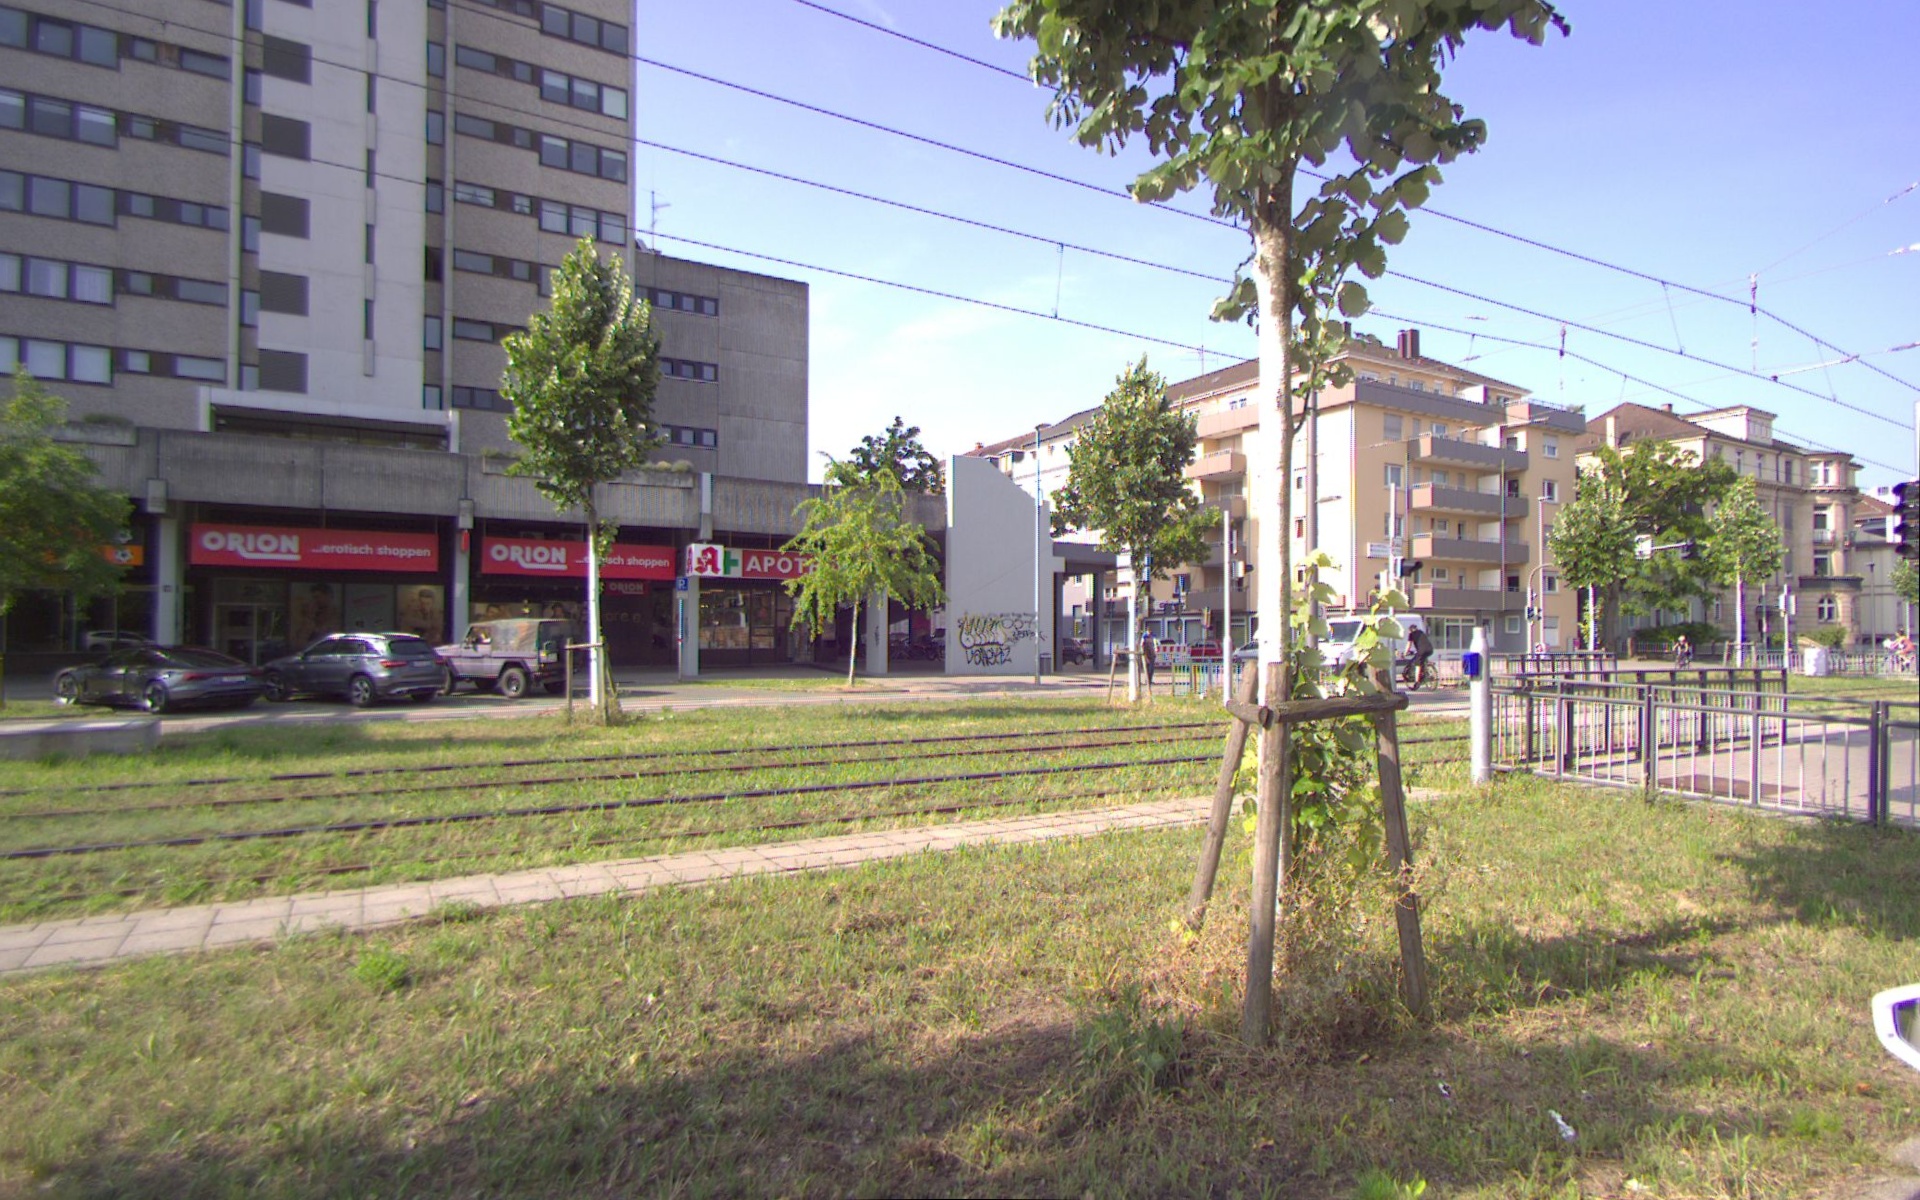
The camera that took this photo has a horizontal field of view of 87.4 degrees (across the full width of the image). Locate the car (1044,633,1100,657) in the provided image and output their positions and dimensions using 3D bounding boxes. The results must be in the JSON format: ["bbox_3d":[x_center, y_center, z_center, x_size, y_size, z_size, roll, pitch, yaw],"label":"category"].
[{"bbox_3d":[7.841,3.167,70.505,1.797,1.625,3.916,1,-2,-34],"label":"car"}]

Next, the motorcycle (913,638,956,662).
[{"bbox_3d":[-1.328,2.616,52.890,2.116,1.269,0.820,1,-2,-30],"label":"motorcycle"}]

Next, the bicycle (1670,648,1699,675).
[{"bbox_3d":[37.927,3.198,52.569,1.740,1.364,0.690,2,-2,-35],"label":"bicycle"}]

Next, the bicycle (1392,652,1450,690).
[{"bbox_3d":[12.083,1.869,26.385,0.547,0.947,1.611,-1,-4,-9],"label":"bicycle"}]

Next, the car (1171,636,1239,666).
[{"bbox_3d":[14.465,2.989,59.413,1.755,1.711,3.766,1,-2,-33],"label":"car"}]

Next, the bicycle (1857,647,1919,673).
[{"bbox_3d":[36.423,2.304,38.479,0.893,0.978,2.963,2,-2,-40],"label":"bicycle"}]

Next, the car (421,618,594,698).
[{"bbox_3d":[-11.996,1.498,26.673,4.031,1.994,1.879,-1,-2,21],"label":"car"}]

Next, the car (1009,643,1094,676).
[{"bbox_3d":[5.010,3.248,54.817,4.334,1.650,1.898,2,0,-33],"label":"car"}]

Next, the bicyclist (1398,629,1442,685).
[{"bbox_3d":[12.070,1.501,26.392,0.536,1.413,0.973,-1,-4,-9],"label":"bicyclist"}]

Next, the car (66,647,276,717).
[{"bbox_3d":[-17.577,1.773,22.395,4.031,1.261,1.879,1,0,21],"label":"car"}]

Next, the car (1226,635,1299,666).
[{"bbox_3d":[16.679,2.746,55.451,1.690,1.604,3.602,-2,-1,-33],"label":"car"}]

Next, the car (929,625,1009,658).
[{"bbox_3d":[0.586,2.633,63.866,4.776,1.994,1.984,2,-3,-30],"label":"car"}]

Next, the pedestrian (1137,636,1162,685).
[{"bbox_3d":[6.759,2.154,35.856,0.637,1.712,0.656,1,-2,-27],"label":"pedestrian"}]

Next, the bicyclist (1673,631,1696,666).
[{"bbox_3d":[37.898,2.526,52.566,1.073,1.829,0.664,1,-2,-35],"label":"bicyclist"}]

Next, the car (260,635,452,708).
[{"bbox_3d":[-14.541,1.656,24.219,4.031,1.627,1.879,-1,-2,21],"label":"car"}]

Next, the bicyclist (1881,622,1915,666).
[{"bbox_3d":[36.208,1.697,38.770,0.885,1.650,0.882,2,-2,-41],"label":"bicyclist"}]

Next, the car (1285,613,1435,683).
[{"bbox_3d":[13.799,1.616,34.549,5.274,2.268,2.035,1,-2,-31],"label":"car"}]
